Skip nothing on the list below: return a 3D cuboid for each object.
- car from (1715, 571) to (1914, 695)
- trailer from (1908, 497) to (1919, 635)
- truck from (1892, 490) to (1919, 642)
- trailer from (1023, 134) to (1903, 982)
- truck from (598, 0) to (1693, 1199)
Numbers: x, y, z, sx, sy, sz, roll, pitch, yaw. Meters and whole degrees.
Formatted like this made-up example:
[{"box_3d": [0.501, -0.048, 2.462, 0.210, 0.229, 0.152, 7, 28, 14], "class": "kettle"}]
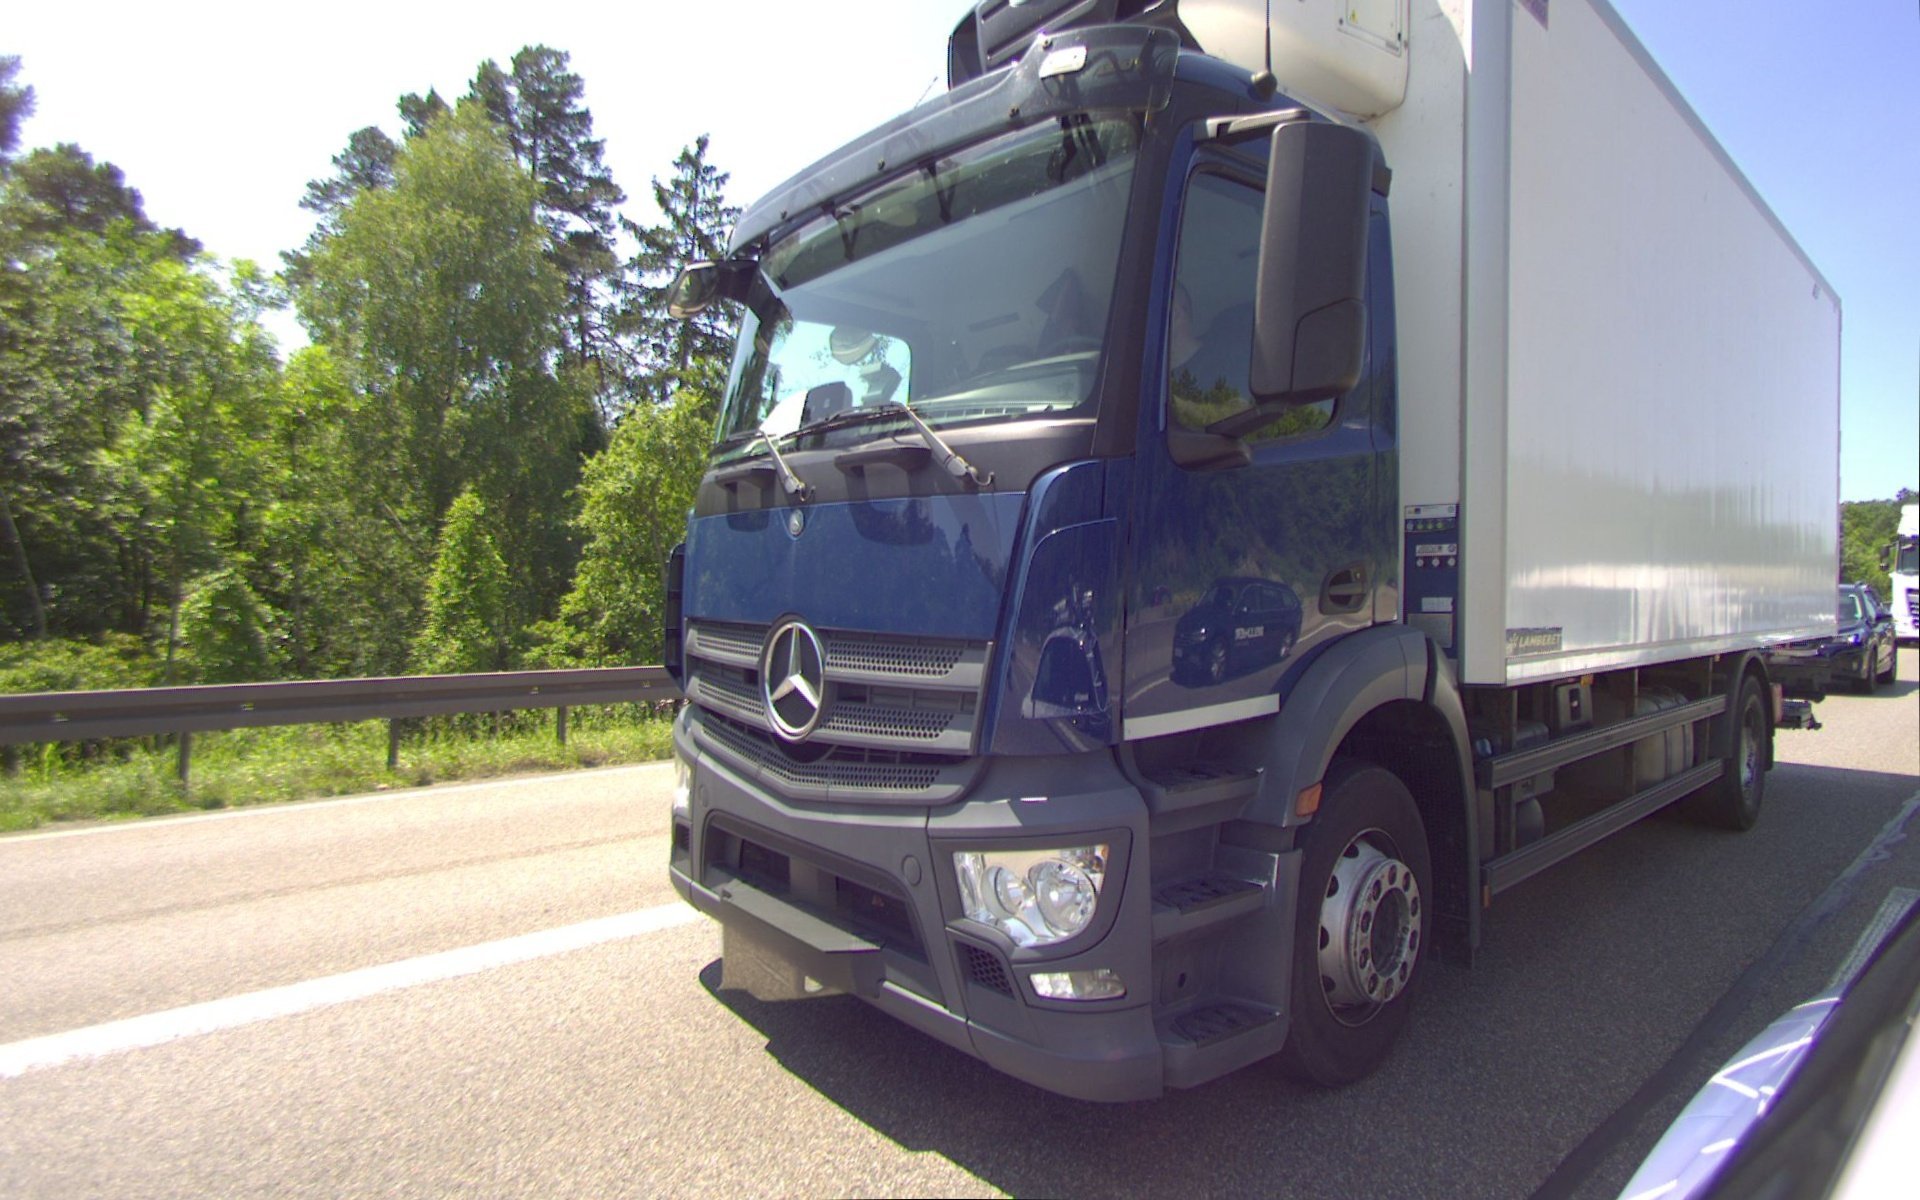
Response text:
[{"box_3d": [14.155, 0.402, 16.673, 4.534, 1.713, 1.996, -2, 3, -43], "class": "car"}, {"box_3d": [33.963, -1.112, 33.322, 11.416, 4.133, 2.765, -2, 3, -41], "class": "trailer"}, {"box_3d": [29.387, -0.992, 29.264, 7.206, 4.135, 2.765, -2, 1, -40], "class": "truck"}, {"box_3d": [4.120, -0.189, 6.982, 7.742, 2.935, 2.561, -1, 1, -40], "class": "trailer"}, {"box_3d": [0.940, -0.123, 4.283, 4.031, 2.976, 2.561, -2, 2, -40], "class": "truck"}]
